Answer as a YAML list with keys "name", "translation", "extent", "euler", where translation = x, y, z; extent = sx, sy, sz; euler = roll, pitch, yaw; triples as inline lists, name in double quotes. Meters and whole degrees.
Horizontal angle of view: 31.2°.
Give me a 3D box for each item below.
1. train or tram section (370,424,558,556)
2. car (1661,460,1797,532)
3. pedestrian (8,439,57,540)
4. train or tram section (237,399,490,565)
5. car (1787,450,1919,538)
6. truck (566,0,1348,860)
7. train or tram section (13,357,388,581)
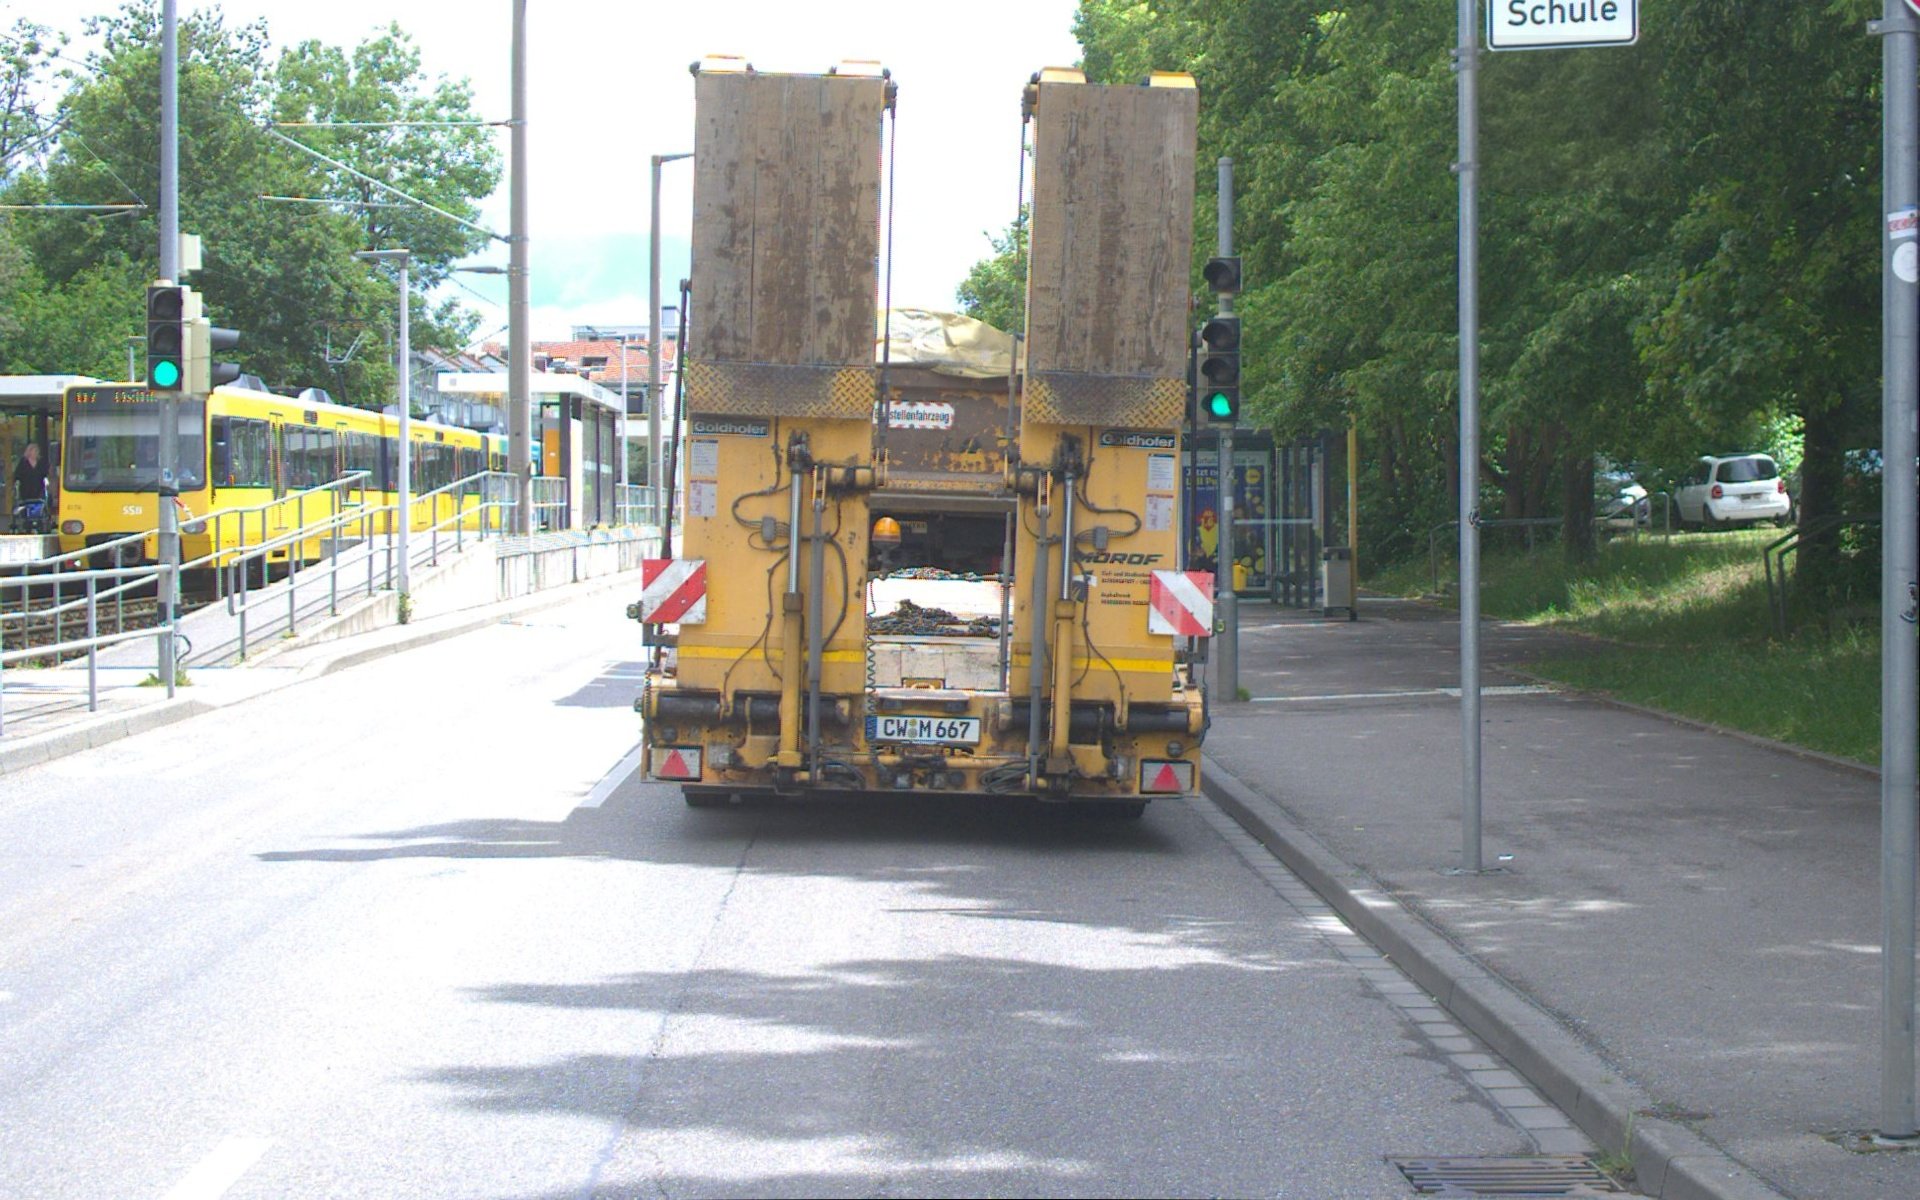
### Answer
- name: "train or tram section"
  translation: [-14.455, -3.181, 101.979]
  extent: [3.108, 3.453, 19.200]
  euler: [2, 1, -1]
- name: "car"
  translation: [16.089, -2.166, 72.129]
  extent: [1.841, 1.415, 4.124]
  euler: [-2, 1, -1]
- name: "pedestrian"
  translation: [-15.897, -1.898, 58.922]
  extent: [0.639, 1.701, 0.646]
  euler: [2, 1, -1]
- name: "train or tram section"
  translation: [-14.033, -2.724, 82.870]
  extent: [3.108, 3.453, 18.998]
  euler: [2, 1, -1]
- name: "car"
  translation: [15.884, -1.845, 60.265]
  extent: [1.613, 1.437, 4.353]
  euler: [-3, 1, -1]
- name: "truck"
  translation: [-0.426, -0.891, 21.843]
  extent: [3.402, 3.719, 13.741]
  euler: [0, 1, -4]
- name: "train or tram section"
  translation: [-13.608, -2.286, 63.924]
  extent: [3.108, 3.453, 18.828]
  euler: [2, 1, -1]
